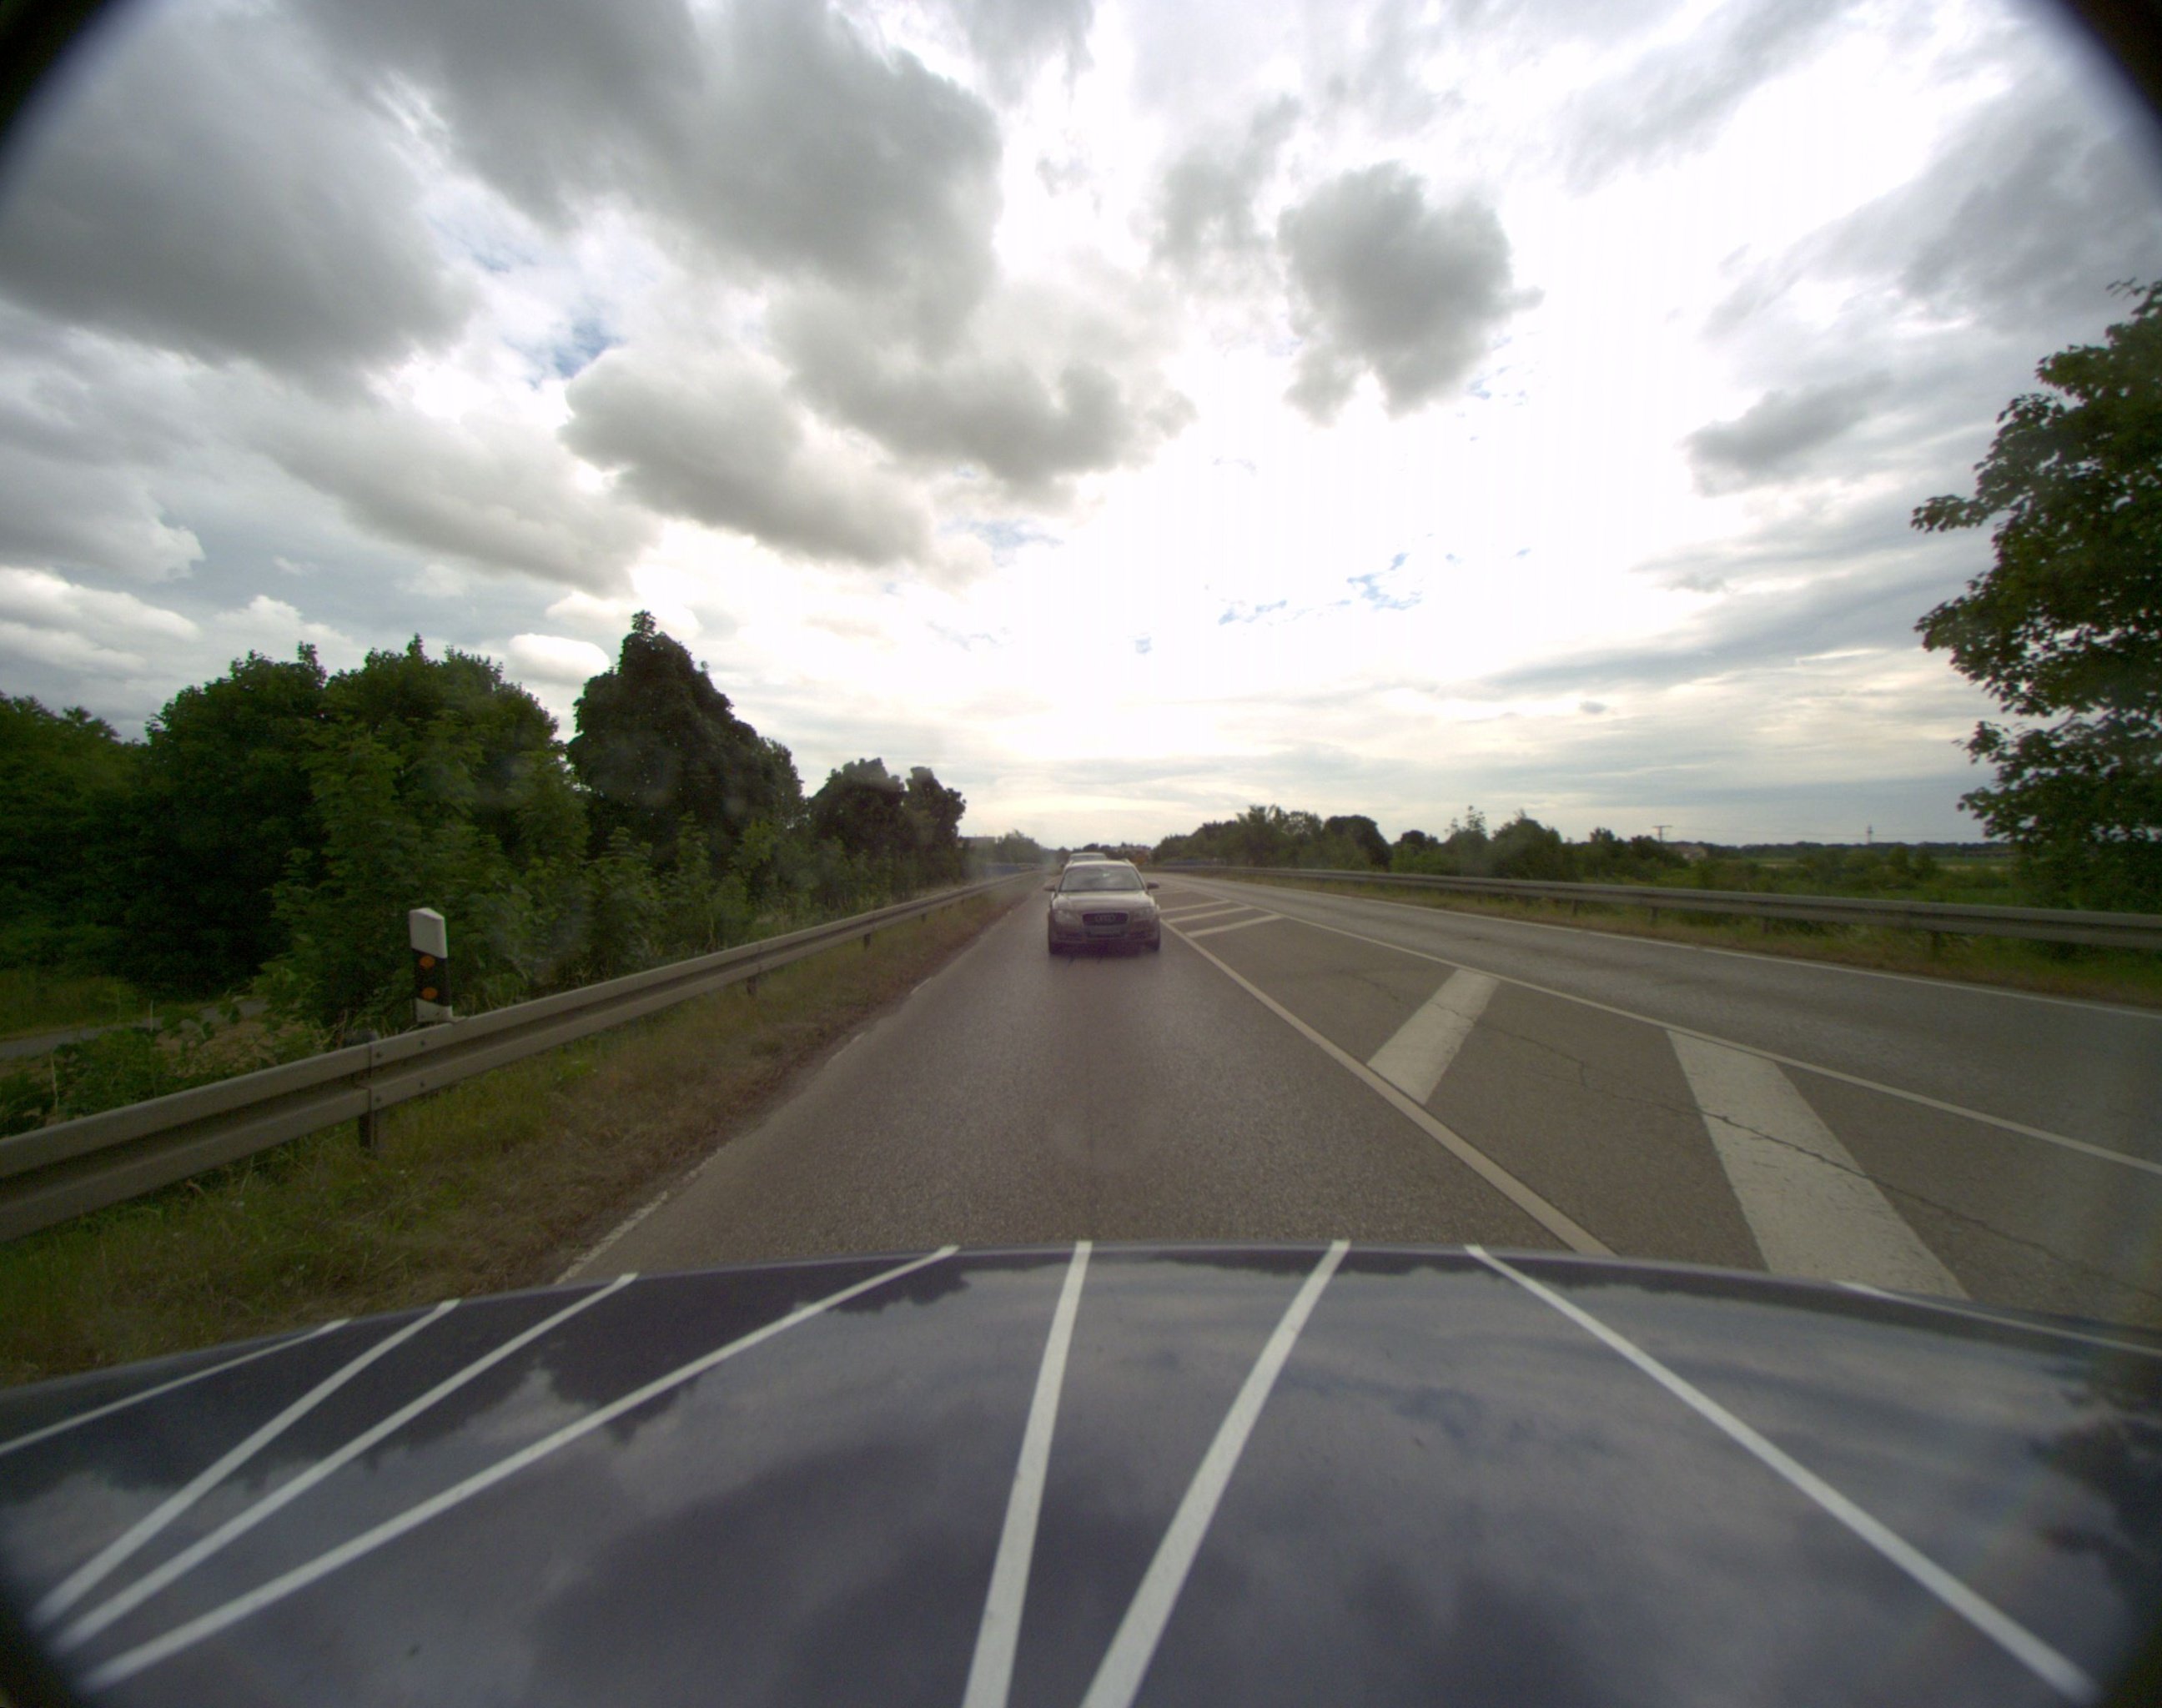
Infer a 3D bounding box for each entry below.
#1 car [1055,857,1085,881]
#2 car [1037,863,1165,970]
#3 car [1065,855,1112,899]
[{"bbox_3d":[-0.672,0.900,46.763,1.670,1.339,3.999,-2,0,-1],"label":"car"},{"bbox_3d":[0.262,0.915,12.720,1.768,1.383,3.875,-2,1,-1],"label":"car"},{"bbox_3d":[0.288,0.829,28.947,1.603,1.494,3.962,-2,0,0],"label":"car"}]
